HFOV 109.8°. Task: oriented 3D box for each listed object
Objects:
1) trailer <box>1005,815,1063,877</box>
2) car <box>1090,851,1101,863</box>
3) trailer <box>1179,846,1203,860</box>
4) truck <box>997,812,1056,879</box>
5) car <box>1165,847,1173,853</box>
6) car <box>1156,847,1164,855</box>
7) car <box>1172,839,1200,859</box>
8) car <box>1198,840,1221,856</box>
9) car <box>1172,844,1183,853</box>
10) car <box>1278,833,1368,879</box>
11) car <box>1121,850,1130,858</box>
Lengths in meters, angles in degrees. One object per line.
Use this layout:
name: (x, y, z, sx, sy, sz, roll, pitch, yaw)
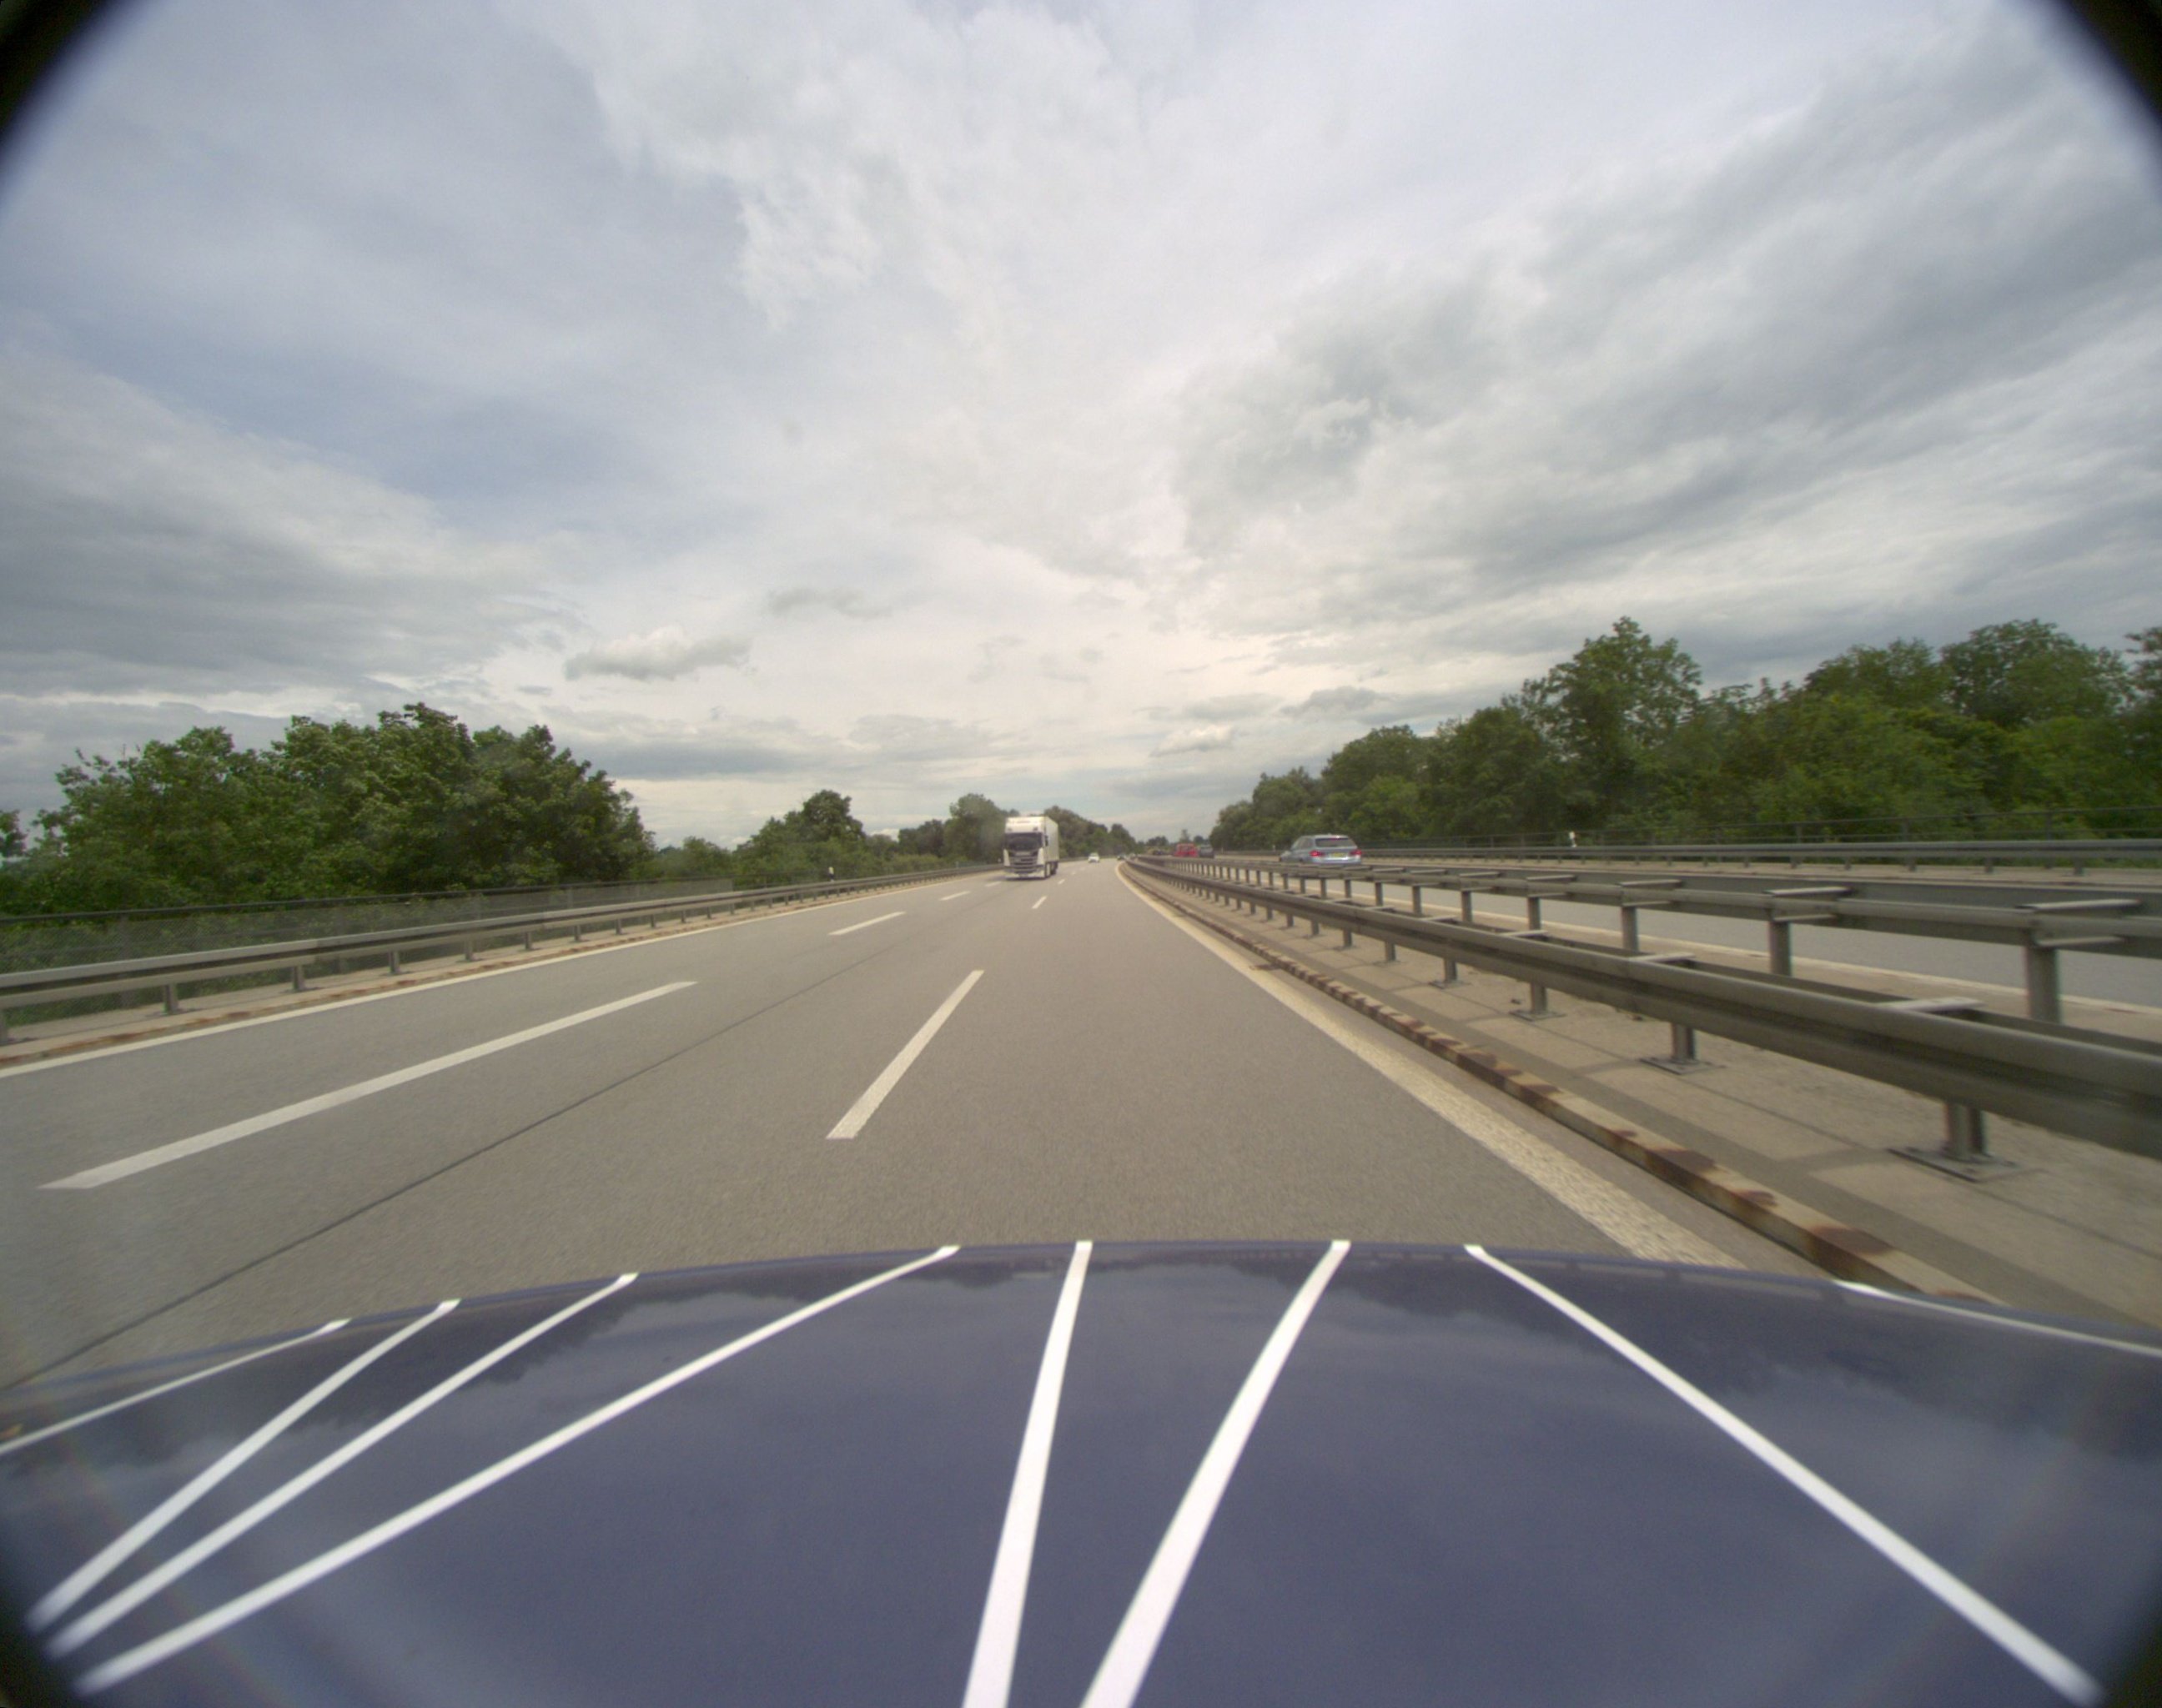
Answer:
trailer: (-3.238, -0.514, 56.240, 3.070, 3.868, 13.790, -2, 0, 1)
car: (2.475, 0.483, 130.766, 1.775, 1.813, 4.165, -3, 1, 2)
trailer: (9.156, -0.092, 63.430, 1.563, 1.118, 3.450, -2, 0, 1)
truck: (-3.370, -0.513, 48.703, 3.070, 3.869, 6.000, -2, 0, 1)
car: (21.767, -1.073, 187.931, 1.695, 1.428, 4.112, -3, 0, 8)
car: (16.706, -0.698, 160.770, 1.647, 1.540, 4.001, -2, 1, 6)
car: (9.308, -0.417, 67.421, 1.817, 1.631, 4.568, -3, 0, 1)
car: (14.037, -0.681, 83.178, 1.714, 1.631, 4.568, -3, 1, 1)
car: (20.718, -1.238, 163.177, 1.998, 1.735, 4.225, -3, 0, 4)
car: (8.050, 0.063, 25.697, 1.733, 1.397, 4.249, 1, 0, 1)
car: (9.014, 0.064, 154.049, 1.774, 1.474, 4.698, -3, 0, 5)
